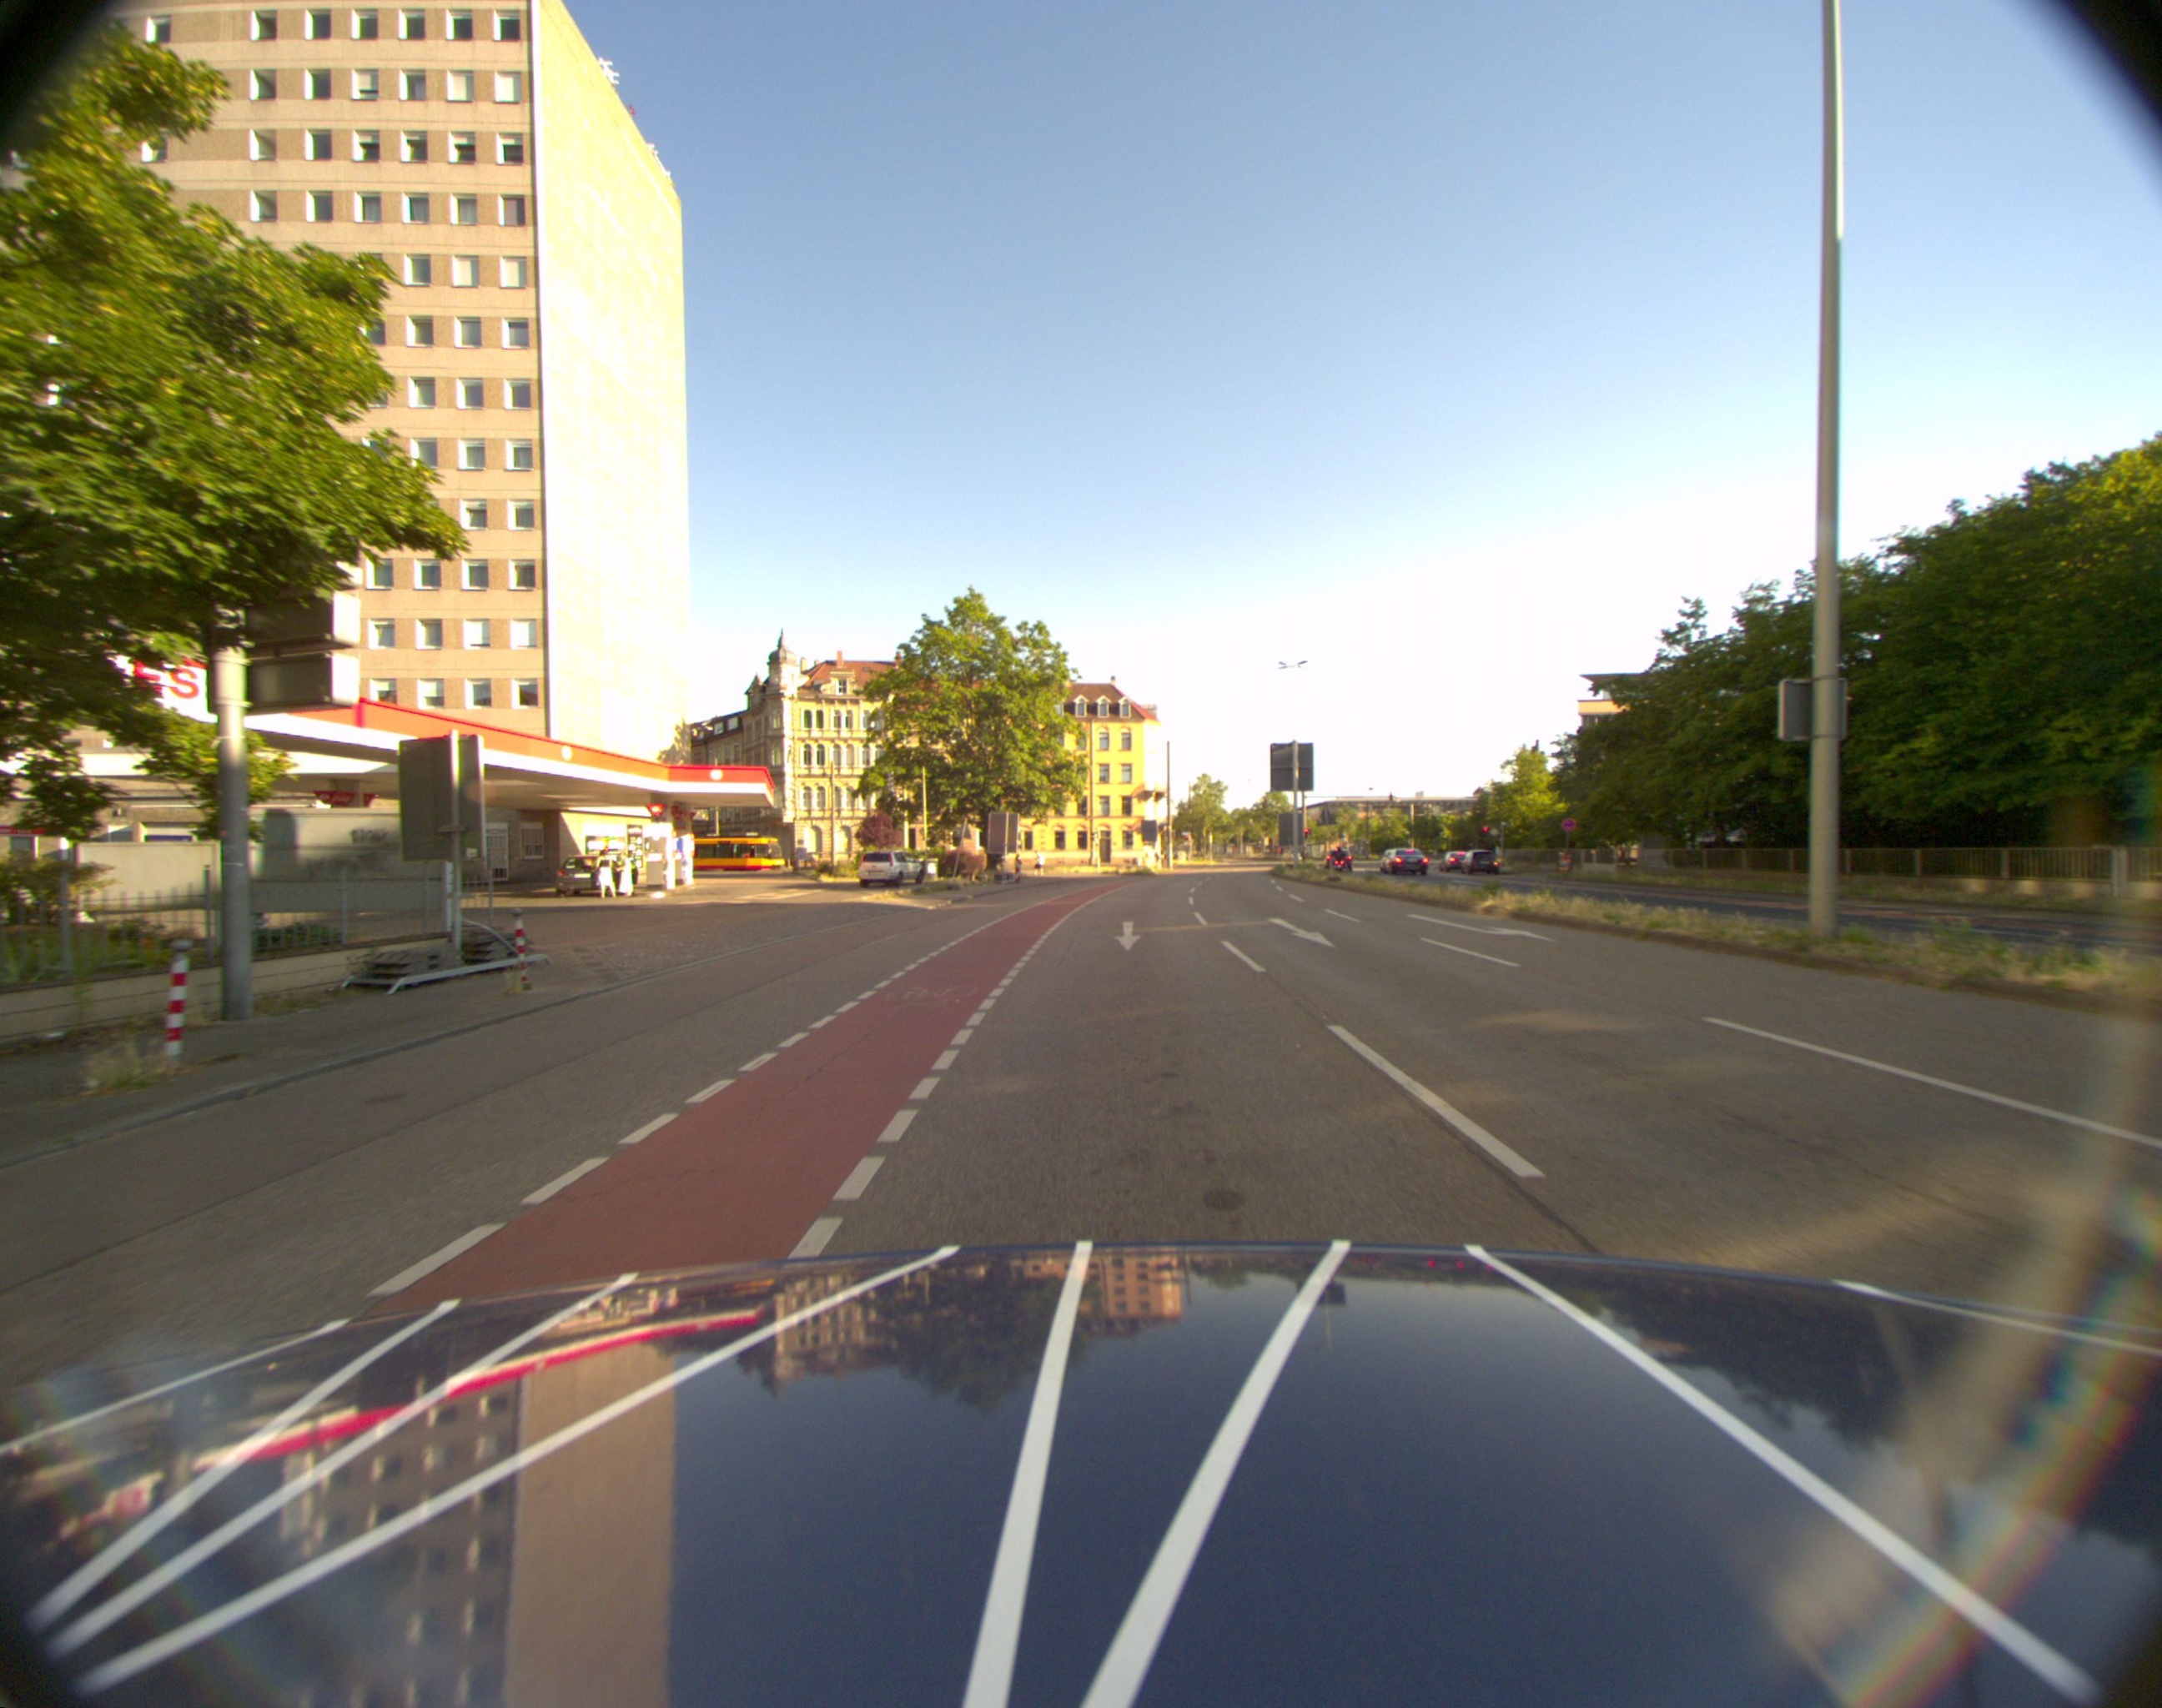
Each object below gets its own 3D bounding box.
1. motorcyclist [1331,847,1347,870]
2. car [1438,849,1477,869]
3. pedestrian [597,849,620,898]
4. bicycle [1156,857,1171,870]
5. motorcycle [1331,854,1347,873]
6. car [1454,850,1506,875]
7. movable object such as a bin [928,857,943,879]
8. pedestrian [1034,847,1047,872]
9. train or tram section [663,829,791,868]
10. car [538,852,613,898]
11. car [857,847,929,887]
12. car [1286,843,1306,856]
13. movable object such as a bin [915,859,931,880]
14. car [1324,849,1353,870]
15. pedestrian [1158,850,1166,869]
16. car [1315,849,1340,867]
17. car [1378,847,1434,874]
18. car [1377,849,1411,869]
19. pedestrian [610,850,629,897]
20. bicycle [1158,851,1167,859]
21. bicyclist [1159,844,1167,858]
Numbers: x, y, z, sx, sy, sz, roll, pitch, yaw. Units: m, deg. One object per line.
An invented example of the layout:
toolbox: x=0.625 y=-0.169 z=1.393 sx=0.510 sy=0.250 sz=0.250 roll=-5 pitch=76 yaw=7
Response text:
motorcyclist: x=15.419 y=0.270 z=45.419 sx=0.852 sy=1.390 sz=1.063 roll=0 pitch=1 yaw=18
car: x=25.519 y=0.334 z=51.623 sx=1.721 sy=1.289 sz=3.899 roll=0 pitch=0 yaw=16
pedestrian: x=-15.824 y=0.652 z=25.447 sx=0.535 sy=1.612 sz=0.567 roll=-1 pitch=1 yaw=-23
bicycle: x=6.813 y=0.767 z=62.685 sx=0.398 sy=1.023 sz=1.675 roll=0 pitch=1 yaw=37
motorcycle: x=15.482 y=0.550 z=45.569 sx=0.859 sy=1.101 sz=2.473 roll=0 pitch=1 yaw=18
car: x=23.962 y=0.476 z=45.797 sx=1.856 sy=1.455 sz=4.004 roll=-1 pitch=0 yaw=13
movable object such as a bin: x=-6.990 y=0.657 z=36.507 sx=0.573 sy=1.023 sz=0.674 roll=0 pitch=1 yaw=5
pedestrian: x=-2.954 y=0.411 z=55.749 sx=0.826 sy=1.778 sz=0.912 roll=0 pitch=1 yaw=4
train or tram section: x=-32.415 y=-0.472 z=69.589 sx=11.276 sy=3.487 sz=2.873 roll=0 pitch=1 yaw=13
car: x=-17.445 y=0.686 z=26.362 sx=1.592 sy=1.431 sz=3.295 roll=0 pitch=1 yaw=-23
car: x=-7.883 y=0.500 z=32.202 sx=1.622 sy=1.584 sz=3.896 roll=0 pitch=1 yaw=8
car: x=27.675 y=-0.576 z=97.835 sx=1.997 sy=1.565 sz=4.003 roll=0 pitch=0 yaw=10
movable object such as a bin: x=-7.618 y=0.744 z=36.558 sx=0.573 sy=1.023 sz=0.674 roll=0 pitch=1 yaw=5
car: x=16.879 y=0.354 z=49.873 sx=1.720 sy=1.289 sz=4.382 roll=0 pitch=0 yaw=18
pedestrian: x=6.693 y=0.453 z=62.682 sx=0.488 sy=1.622 sz=0.526 roll=0 pitch=1 yaw=36
car: x=18.681 y=0.276 z=57.549 sx=1.720 sy=1.289 sz=4.255 roll=0 pitch=0 yaw=19
car: x=18.876 y=0.327 z=44.335 sx=1.997 sy=1.487 sz=5.297 roll=0 pitch=0 yaw=12
car: x=21.303 y=0.311 z=51.829 sx=1.721 sy=1.311 sz=3.899 roll=0 pitch=0 yaw=16
pedestrian: x=-15.927 y=0.665 z=26.221 sx=0.535 sy=1.612 sz=0.567 roll=-1 pitch=1 yaw=-31
bicycle: x=10.267 y=0.151 z=95.123 sx=1.071 sy=1.018 sz=2.976 roll=0 pitch=0 yaw=7
bicyclist: x=10.273 y=-0.383 z=95.132 sx=1.071 sy=1.831 sz=1.304 roll=0 pitch=1 yaw=7
